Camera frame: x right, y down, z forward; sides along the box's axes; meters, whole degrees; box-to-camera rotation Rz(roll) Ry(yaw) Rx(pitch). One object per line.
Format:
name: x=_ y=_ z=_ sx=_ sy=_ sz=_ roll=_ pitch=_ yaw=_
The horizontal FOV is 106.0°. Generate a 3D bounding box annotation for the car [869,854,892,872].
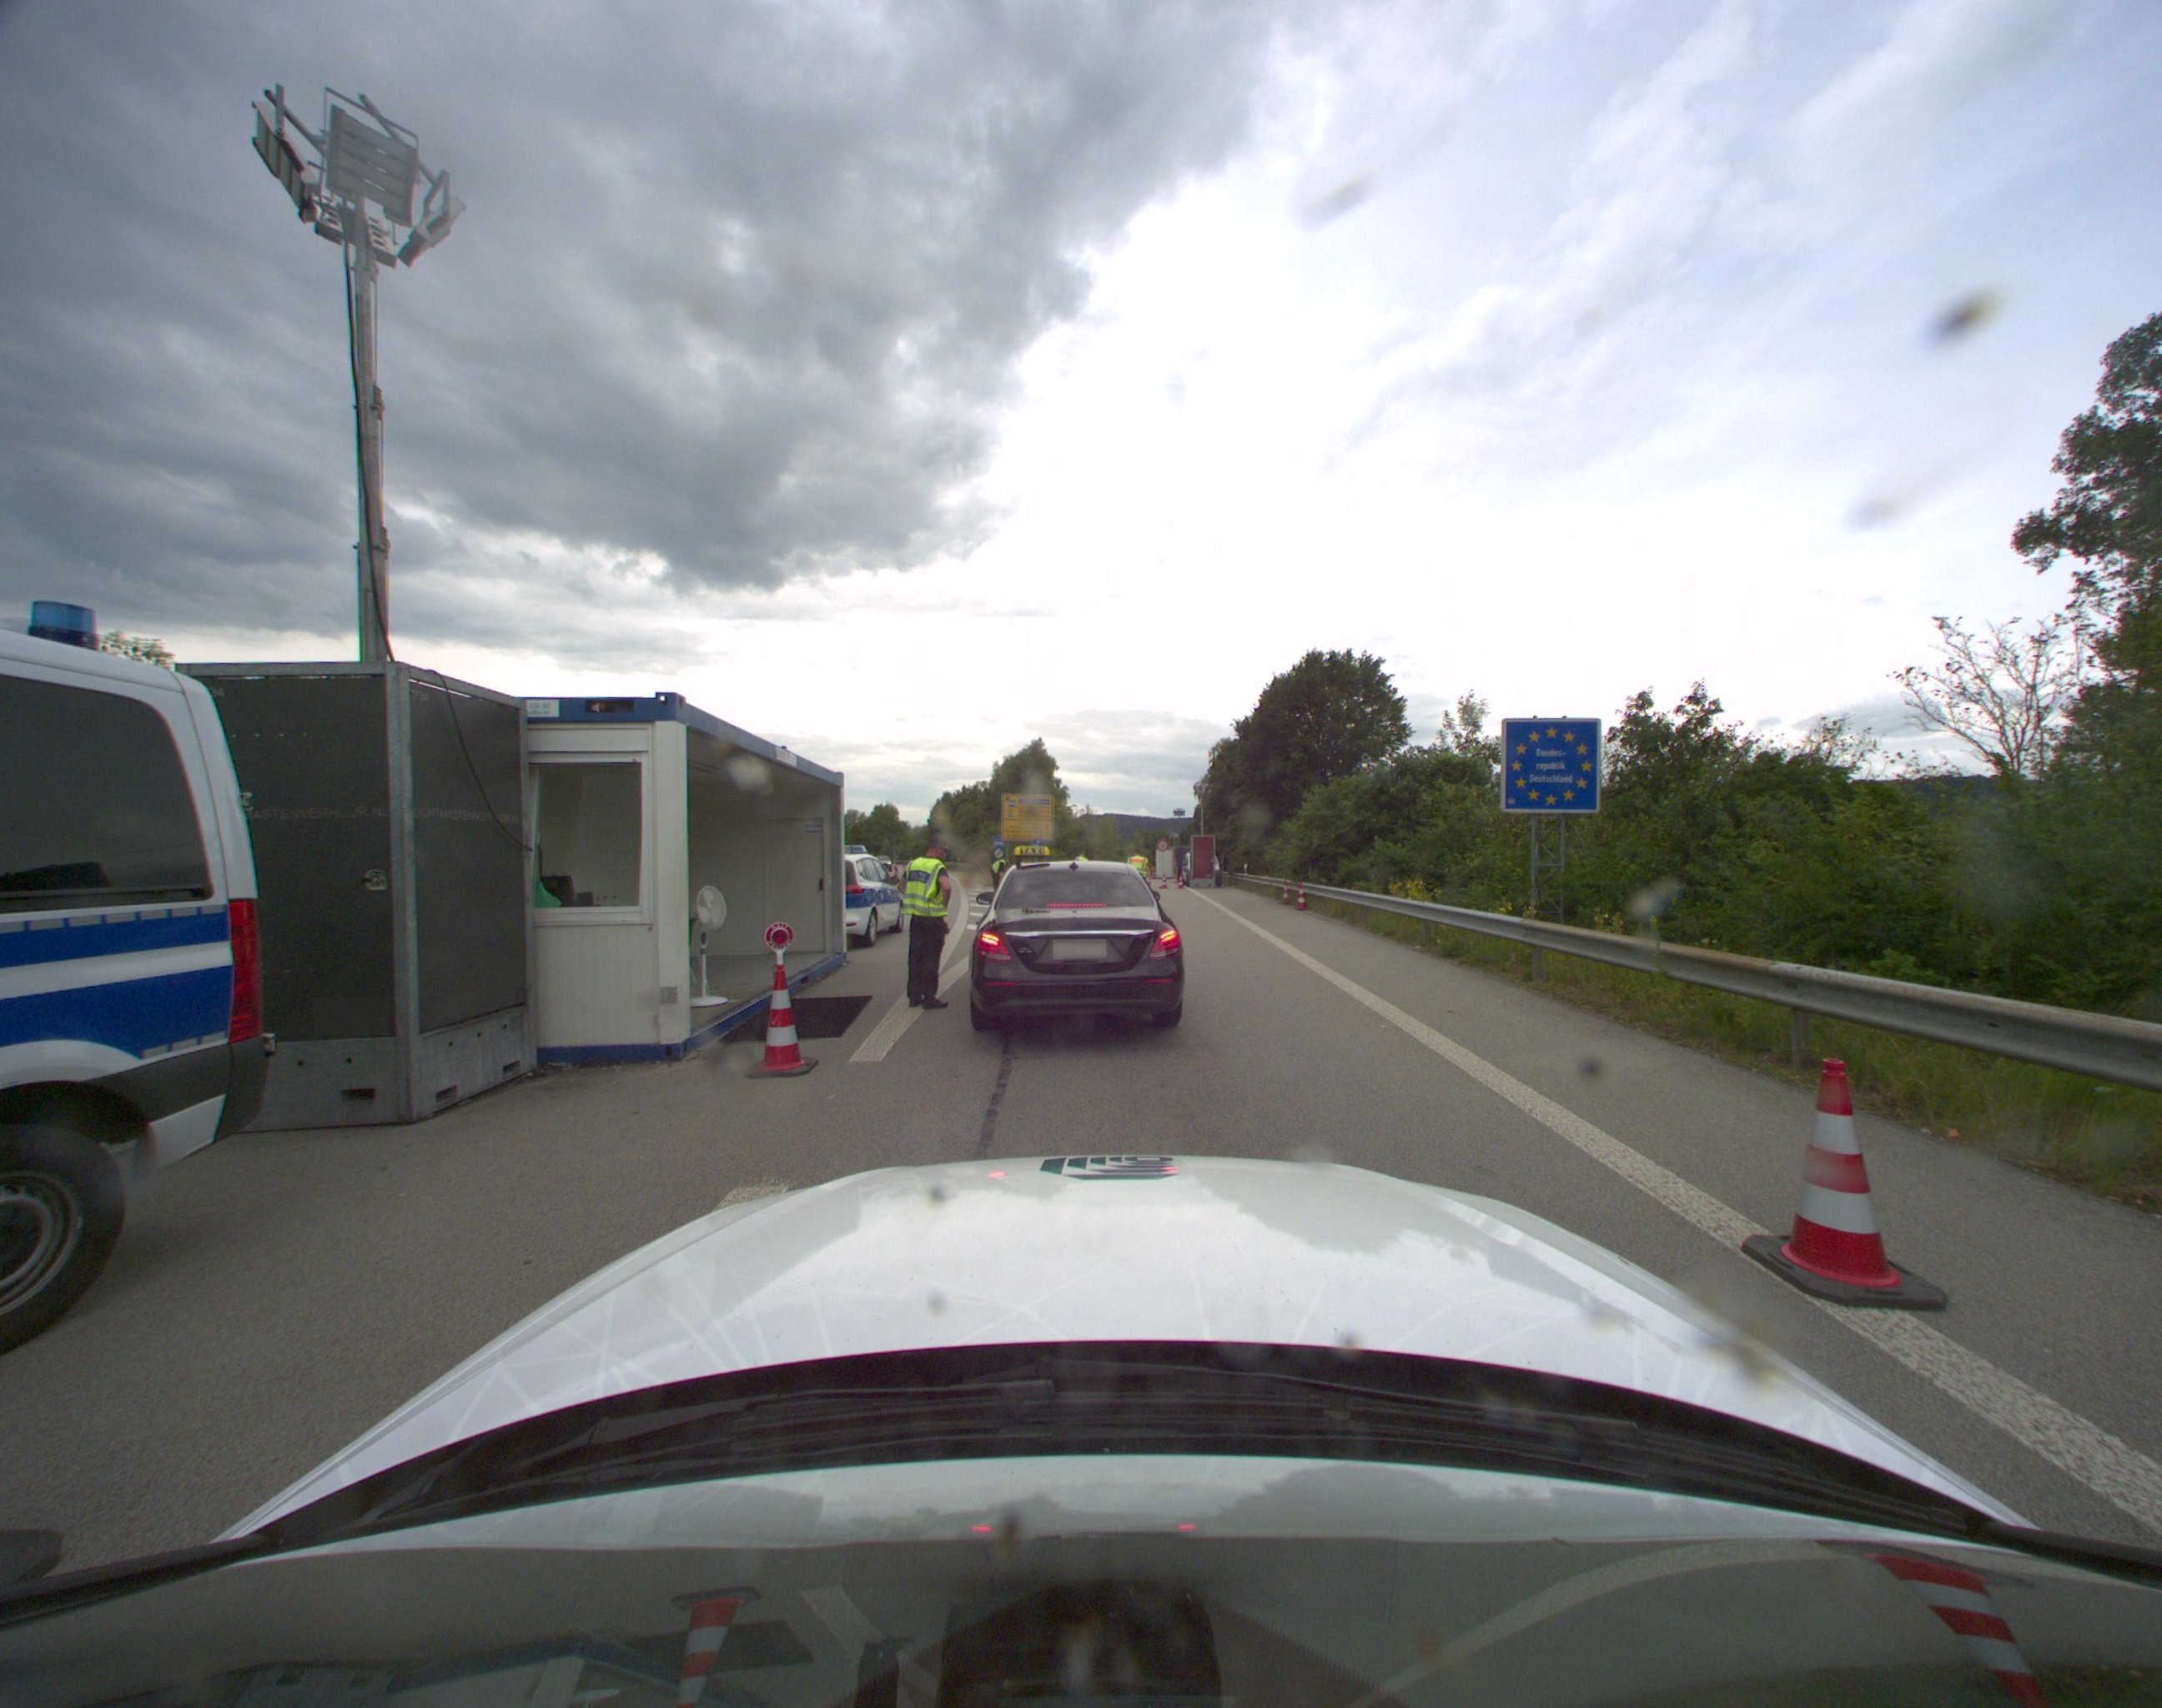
car: x=-18.193 y=0.797 z=74.075 sx=1.856 sy=1.498 sz=4.240 roll=-1 pitch=0 yaw=-11

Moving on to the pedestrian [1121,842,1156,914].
pedestrian: x=1.501 y=0.623 z=21.248 sx=0.807 sy=1.830 sz=0.812 roll=-1 pitch=-1 yaw=9

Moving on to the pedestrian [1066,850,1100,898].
pedestrian: x=0.067 y=0.722 z=29.692 sx=0.914 sy=1.698 sz=0.905 roll=0 pitch=-1 yaw=-30

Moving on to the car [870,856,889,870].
car: x=-22.301 y=0.961 z=90.024 sx=1.859 sy=1.498 sz=4.233 roll=-1 pitch=0 yaw=-16

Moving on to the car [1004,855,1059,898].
car: x=-1.818 y=0.812 z=30.951 sx=1.850 sy=1.498 sz=4.255 roll=-1 pitch=0 yaw=-1

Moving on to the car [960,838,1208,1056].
car: x=-0.071 y=0.696 z=8.310 sx=1.851 sy=1.595 sz=4.371 roll=-1 pitch=0 yaw=-3

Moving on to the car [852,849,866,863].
car: x=-37.449 y=0.380 z=137.309 sx=1.863 sy=2.222 sz=4.225 roll=-1 pitch=0 yaw=-22

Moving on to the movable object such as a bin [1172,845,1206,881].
movable object such as a bin: x=7.186 y=0.585 z=54.609 sx=1.984 sy=2.280 sz=4.172 roll=-1 pitch=0 yaw=4

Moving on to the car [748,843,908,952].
car: x=-4.547 y=0.712 z=15.285 sx=1.864 sy=1.743 sz=4.005 roll=-1 pitch=0 yaw=-2

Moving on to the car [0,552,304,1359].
car: x=-4.272 y=0.314 z=0.797 sx=2.023 sy=2.463 sz=5.276 roll=-1 pitch=0 yaw=-2

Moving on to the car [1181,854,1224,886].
car: x=6.745 y=0.863 z=45.768 sx=1.908 sy=1.678 sz=5.087 roll=1 pitch=0 yaw=3

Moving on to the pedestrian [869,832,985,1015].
pedestrian: x=-1.542 y=0.652 z=8.177 sx=0.752 sy=1.718 sz=0.823 roll=-2 pitch=-1 yaw=39

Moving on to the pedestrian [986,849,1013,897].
pedestrian: x=-3.075 y=0.722 z=30.830 sx=0.908 sy=1.769 sz=0.911 roll=-1 pitch=0 yaw=-1
